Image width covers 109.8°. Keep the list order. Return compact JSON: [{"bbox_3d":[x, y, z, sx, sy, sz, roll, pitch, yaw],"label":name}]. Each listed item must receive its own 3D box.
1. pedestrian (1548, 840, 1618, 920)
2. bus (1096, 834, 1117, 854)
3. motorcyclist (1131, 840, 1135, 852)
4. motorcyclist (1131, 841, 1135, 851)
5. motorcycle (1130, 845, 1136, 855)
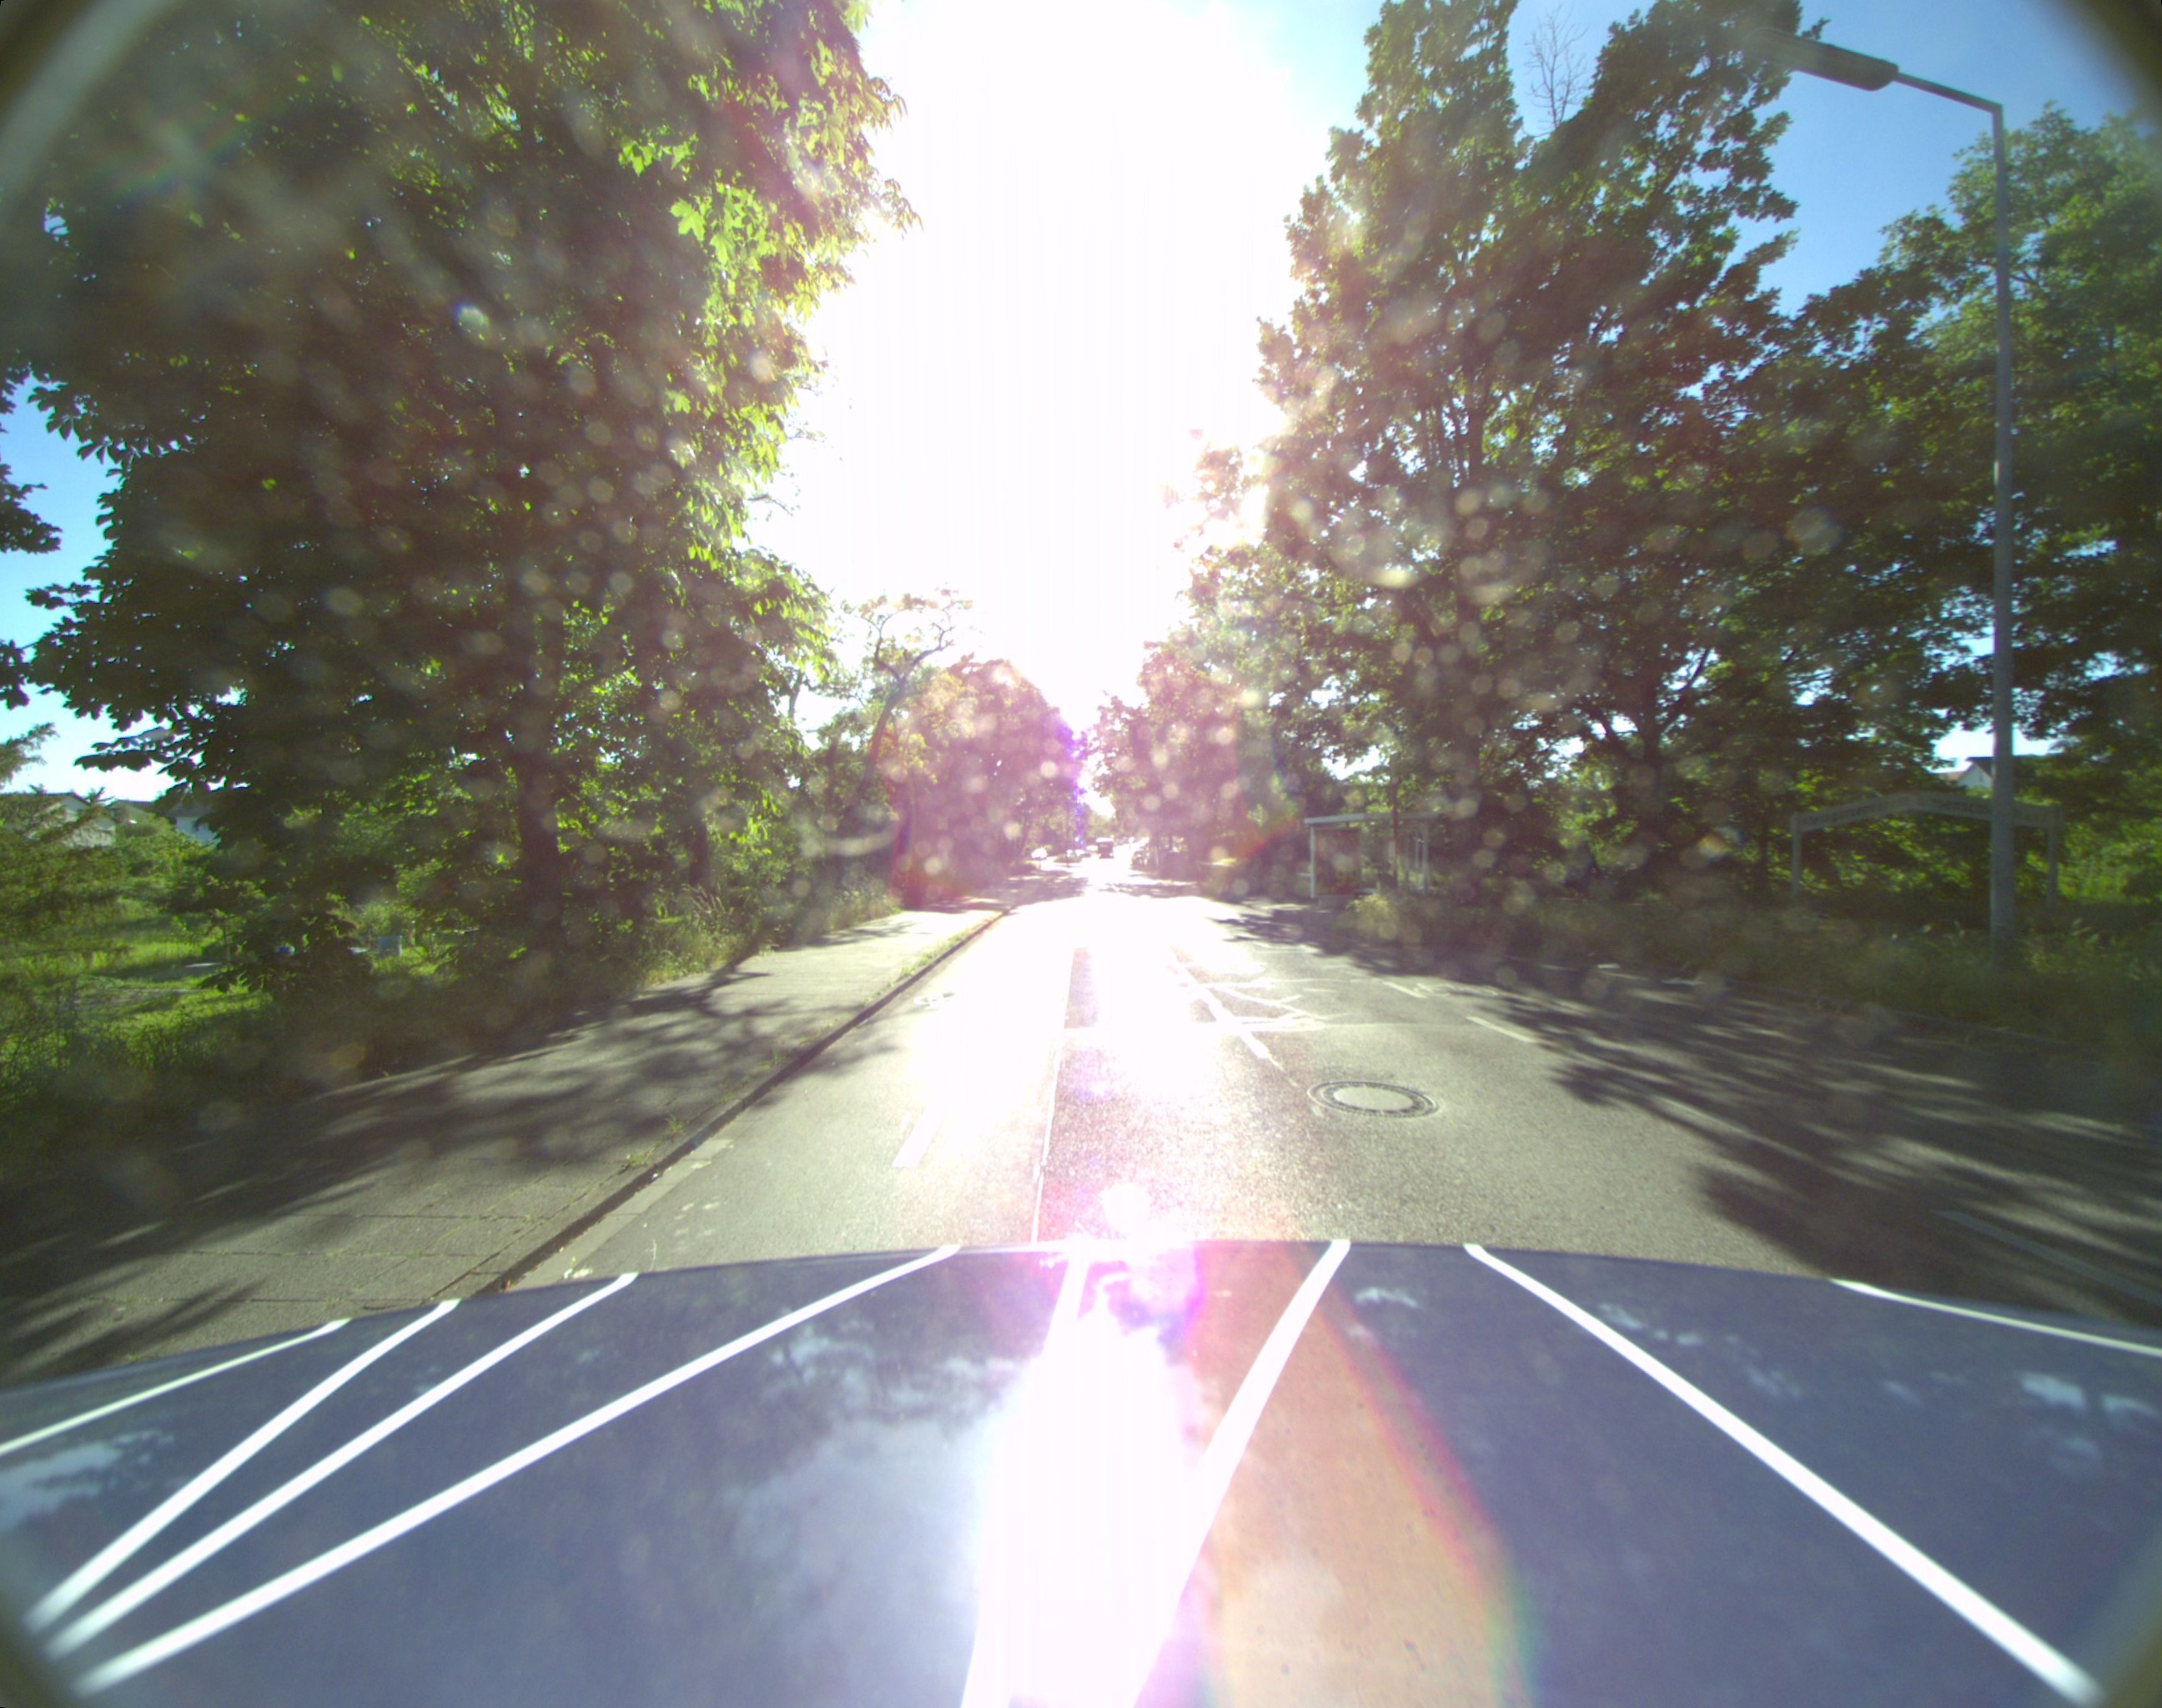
[{"bbox_3d":[11.054,0.559,16.757,0.915,1.678,0.891,-2,0,2],"label":"pedestrian"},{"bbox_3d":[4.081,-1.543,124.548,2.790,2.965,12.893,-2,0,-1],"label":"bus"},{"bbox_3d":[8.971,-1.386,131.346,0.537,2.002,0.826,-3,2,-2],"label":"motorcyclist"},{"bbox_3d":[10.533,-1.682,154.535,0.640,2.002,0.739,-3,2,-2],"label":"motorcyclist"},{"bbox_3d":[9.008,-0.656,131.389,0.815,1.668,2.411,-3,1,-2],"label":"motorcycle"}]
